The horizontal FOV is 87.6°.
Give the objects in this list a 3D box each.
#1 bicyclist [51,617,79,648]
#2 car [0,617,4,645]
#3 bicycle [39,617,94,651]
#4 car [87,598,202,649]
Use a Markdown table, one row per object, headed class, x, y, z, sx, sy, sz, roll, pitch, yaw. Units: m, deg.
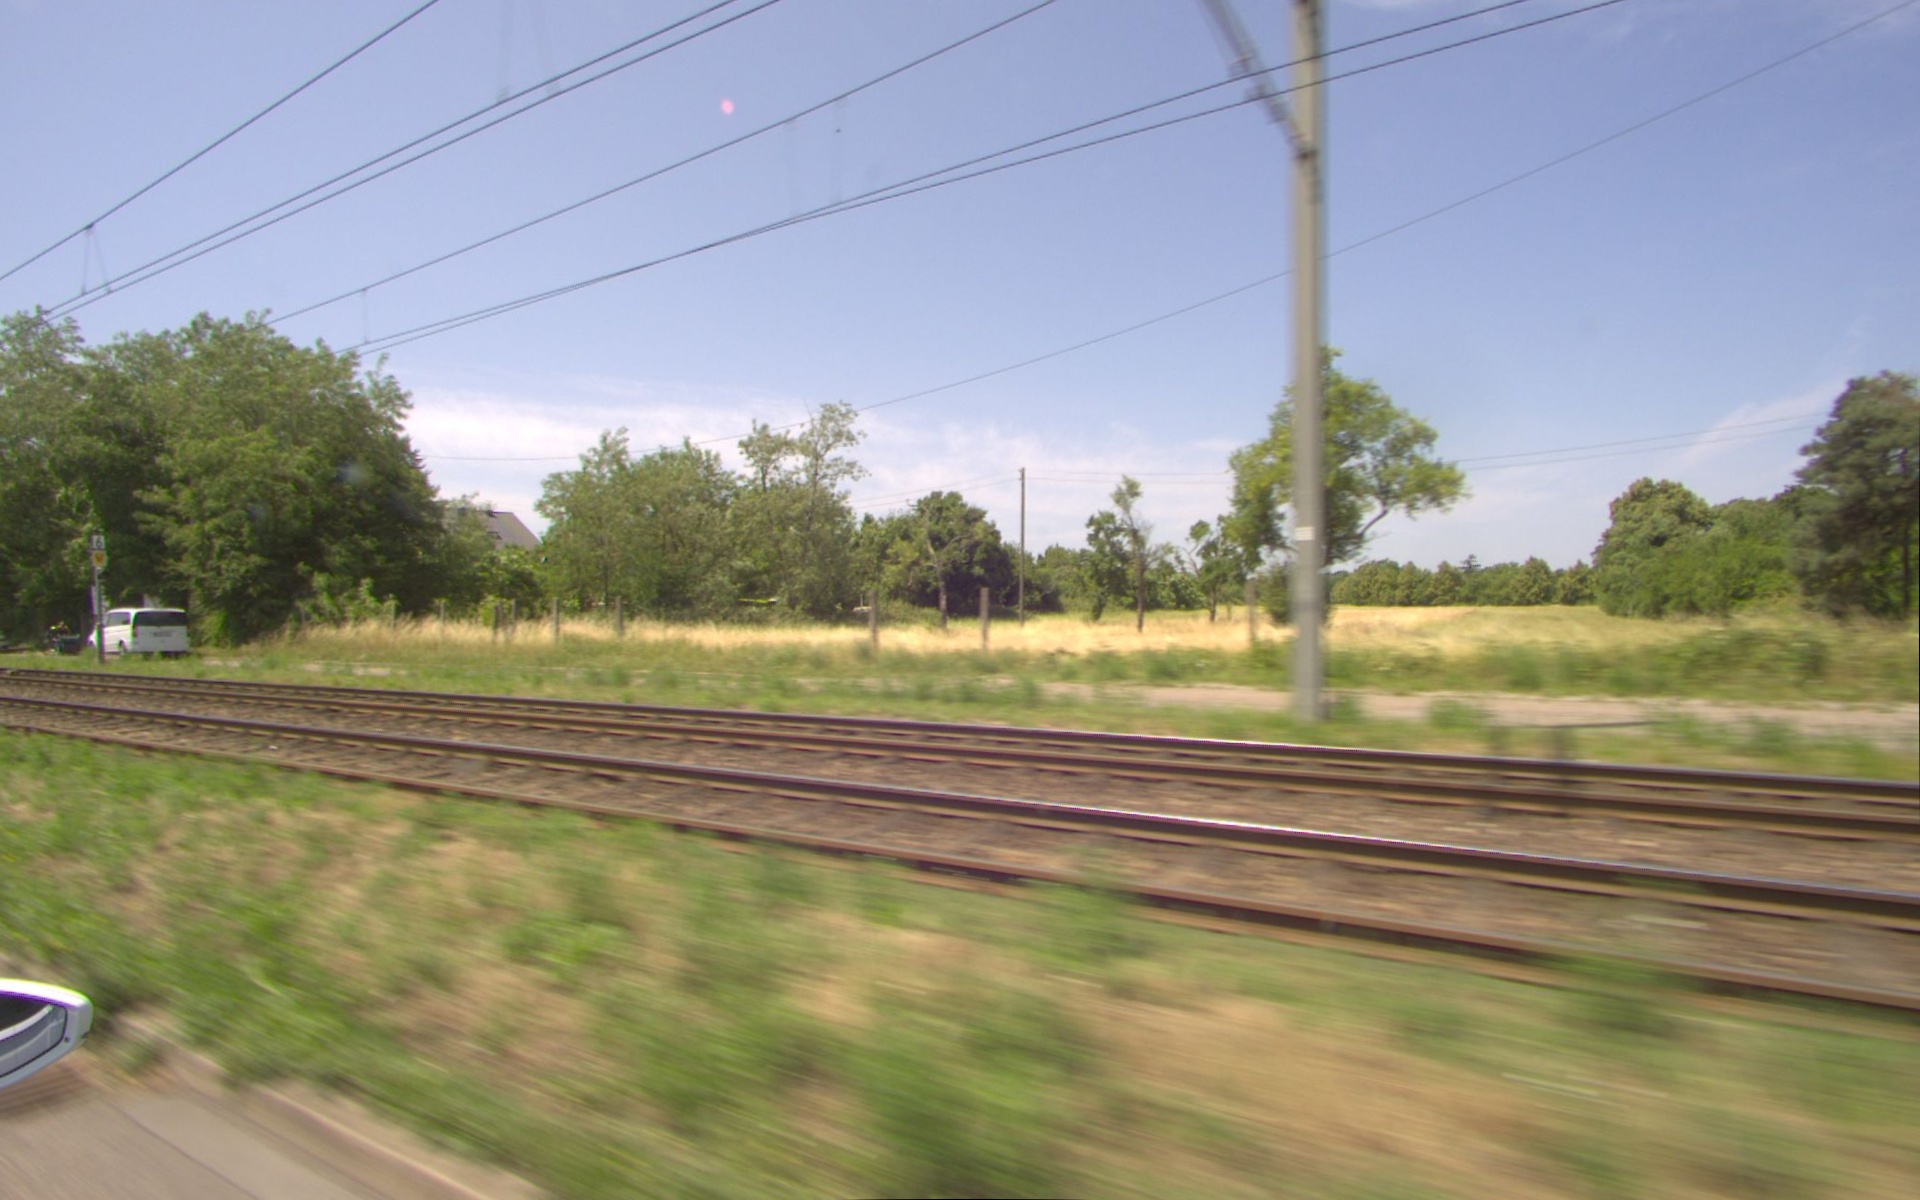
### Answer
| class | x | y | z | sx | sy | sz | roll | pitch | yaw |
| --- | --- | --- | --- | --- | --- | --- | --- | --- | --- |
| bicyclist | -39.665 | 1.429 | 44.374 | 0.891 | 1.356 | 0.700 | -1 | 0 | 32 |
| car | -47.193 | 1.495 | 47.817 | 3.416 | 1.325 | 1.425 | -2 | 0 | 32 |
| bicycle | -39.644 | 1.512 | 44.425 | 3.337 | 1.448 | 0.926 | -2 | 0 | 32 |
| car | -31.132 | 0.904 | 38.196 | 4.726 | 1.826 | 1.989 | -2 | 0 | 32 |
